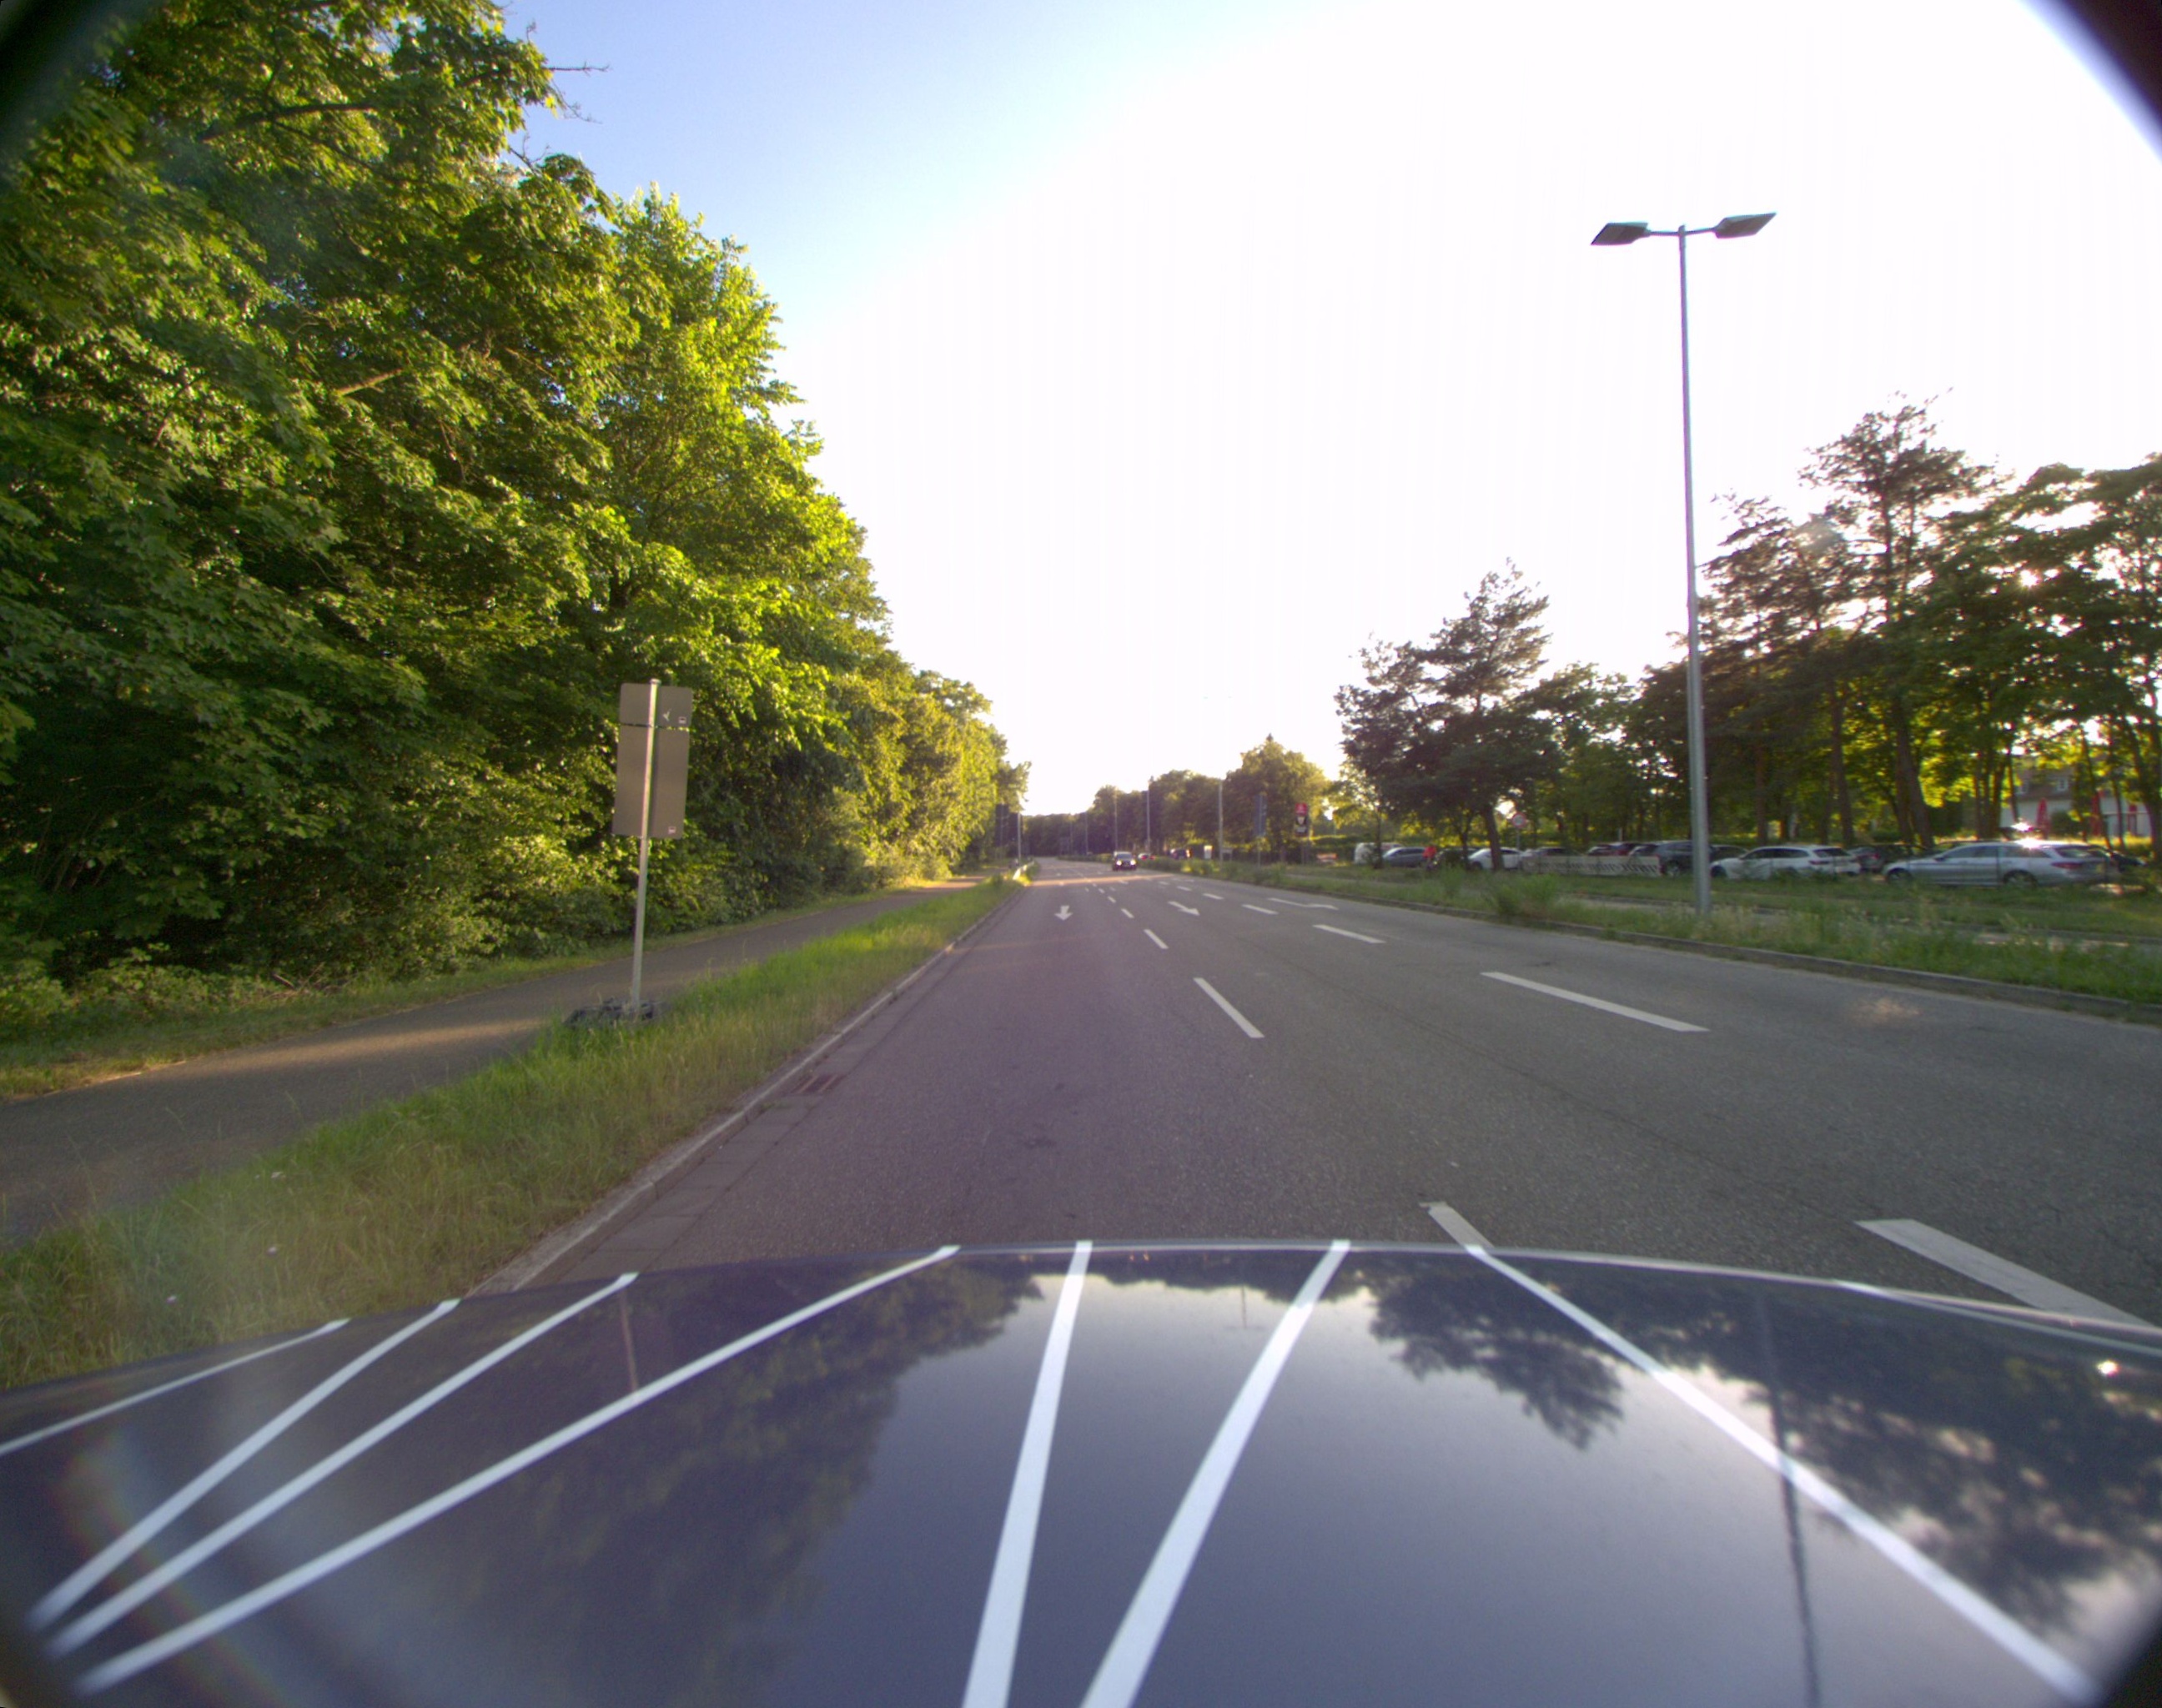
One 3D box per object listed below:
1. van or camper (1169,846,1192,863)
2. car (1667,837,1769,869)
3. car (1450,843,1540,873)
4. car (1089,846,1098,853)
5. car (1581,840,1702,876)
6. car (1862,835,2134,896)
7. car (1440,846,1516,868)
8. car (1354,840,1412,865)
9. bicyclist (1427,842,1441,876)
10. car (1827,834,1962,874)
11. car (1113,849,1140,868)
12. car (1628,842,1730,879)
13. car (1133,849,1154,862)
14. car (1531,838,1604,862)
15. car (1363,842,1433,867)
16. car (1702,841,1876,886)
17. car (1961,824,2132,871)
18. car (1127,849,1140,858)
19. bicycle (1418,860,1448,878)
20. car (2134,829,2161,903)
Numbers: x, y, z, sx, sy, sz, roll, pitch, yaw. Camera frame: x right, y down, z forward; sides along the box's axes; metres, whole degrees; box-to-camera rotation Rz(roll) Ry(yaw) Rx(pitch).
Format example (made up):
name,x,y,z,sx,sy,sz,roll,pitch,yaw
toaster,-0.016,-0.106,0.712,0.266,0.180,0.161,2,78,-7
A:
name,x,y,z,sx,sy,sz,roll,pitch,yaw
van or camper,12.429,0.049,94.916,1.999,2.002,4.576,-1,0,-4
car,34.091,-0.043,40.721,3.997,1.641,1.766,-1,1,0
car,25.182,0.220,46.326,4.497,1.743,1.909,-1,1,-1
car,2.969,-1.007,178.309,1.760,1.532,3.998,-3,1,-4
car,26.368,0.179,35.817,4.525,1.608,1.771,-1,1,-3
car,26.783,0.288,22.547,1.999,1.597,4.920,-1,0,-4
car,25.237,0.185,48.381,3.997,1.304,1.732,-1,1,-1
car,24.212,-0.132,60.990,3.998,1.932,1.766,-1,1,-2
bicyclist,19.082,0.269,41.077,0.459,1.863,0.617,-1,1,-6
car,35.430,-0.011,33.166,3.997,1.641,1.766,-1,1,-1
car,3.919,0.385,65.943,1.999,1.543,3.999,-1,0,-2
car,25.702,0.253,32.712,3.099,1.518,1.659,-1,1,-2
car,7.918,0.182,96.916,1.999,1.486,4.511,-1,0,-3
car,34.135,-0.299,53.403,3.997,1.641,1.766,-1,1,0
car,24.147,0.015,57.950,4.498,1.787,1.909,-1,1,-2
car,26.429,0.311,28.656,1.999,1.539,4.708,-1,0,-4
car,34.989,-0.236,27.610,3.997,1.641,1.766,-1,1,-1
car,9.396,-0.132,137.184,1.761,1.532,3.998,-3,1,-4
bicycle,19.075,0.818,41.200,0.493,0.928,2.043,-1,0,-6
car,27.114,0.287,16.339,1.999,1.776,4.920,-1,0,-4
